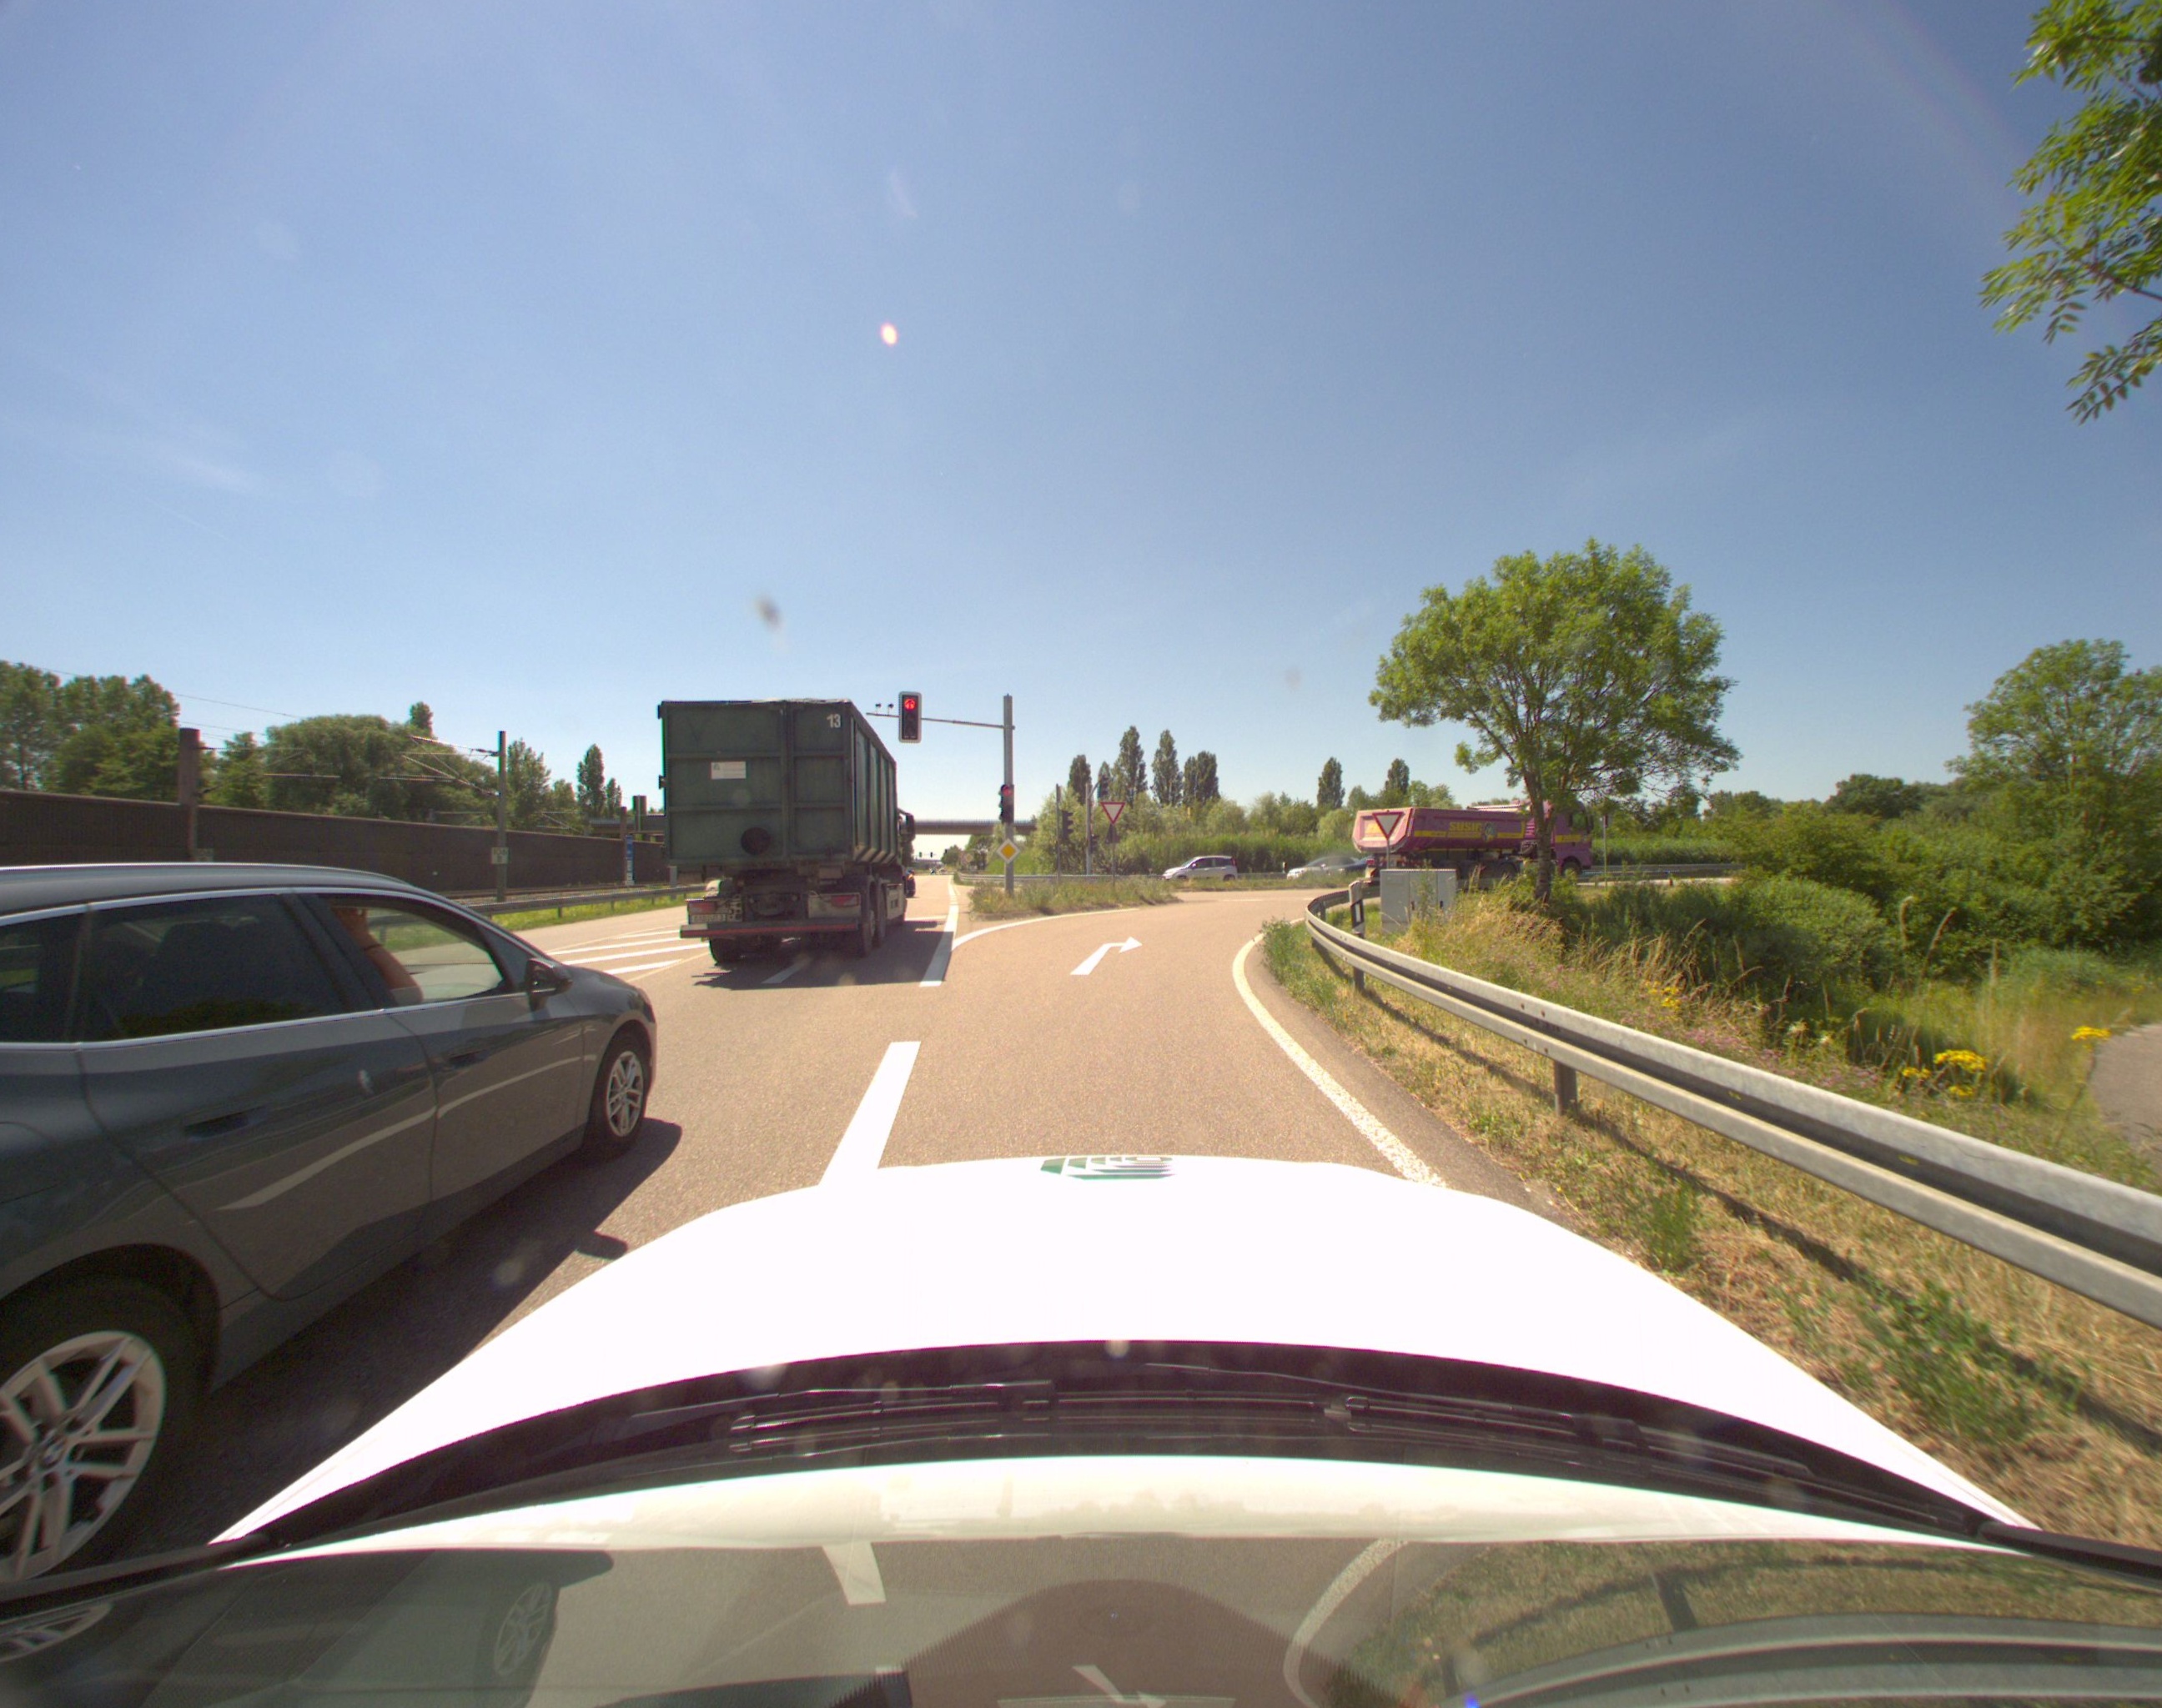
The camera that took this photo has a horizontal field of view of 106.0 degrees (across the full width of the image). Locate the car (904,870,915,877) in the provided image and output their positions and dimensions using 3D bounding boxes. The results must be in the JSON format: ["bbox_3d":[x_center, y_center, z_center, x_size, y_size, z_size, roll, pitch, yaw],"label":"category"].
[{"bbox_3d":[-36.282,4.051,172.157,1.993,1.398,4.392,-1,-1,-9],"label":"car"}]

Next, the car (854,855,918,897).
[{"bbox_3d":[-8.952,0.923,37.062,1.937,1.768,4.559,0,0,-26],"label":"car"}]

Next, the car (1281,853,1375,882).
[{"bbox_3d":[13.177,0.723,43.553,4.384,1.398,1.997,-2,-1,-5],"label":"car"}]

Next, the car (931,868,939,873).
[{"bbox_3d":[-42.782,4.890,238.992,1.993,1.398,4.392,-1,-1,-9],"label":"car"}]

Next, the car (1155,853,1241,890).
[{"bbox_3d":[5.582,0.817,39.083,3.704,1.632,1.729,-1,-1,-8],"label":"car"}]

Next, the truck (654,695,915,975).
[{"bbox_3d":[-4.962,-0.260,15.786,2.587,3.737,9.551,-1,0,-7],"label":"truck"}]

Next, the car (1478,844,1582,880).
[{"bbox_3d":[22.572,0.391,41.003,4.220,1.632,1.929,-2,-1,-7],"label":"car"}]

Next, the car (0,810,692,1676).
[{"bbox_3d":[-3.124,0.770,2.883,1.843,1.623,4.215,-1,-1,-7],"label":"car"}]

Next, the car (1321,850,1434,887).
[{"bbox_3d":[14.592,0.715,40.223,4.919,1.632,1.929,-2,-1,-7],"label":"car"}]

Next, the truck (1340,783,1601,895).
[{"bbox_3d":[15.549,-0.589,31.922,11.918,3.821,2.816,-1,-1,-29],"label":"truck"}]

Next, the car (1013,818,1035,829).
[{"bbox_3d":[-11.384,-6.067,161.370,4.175,2.014,1.994,-1,-1,-8],"label":"car"}]
